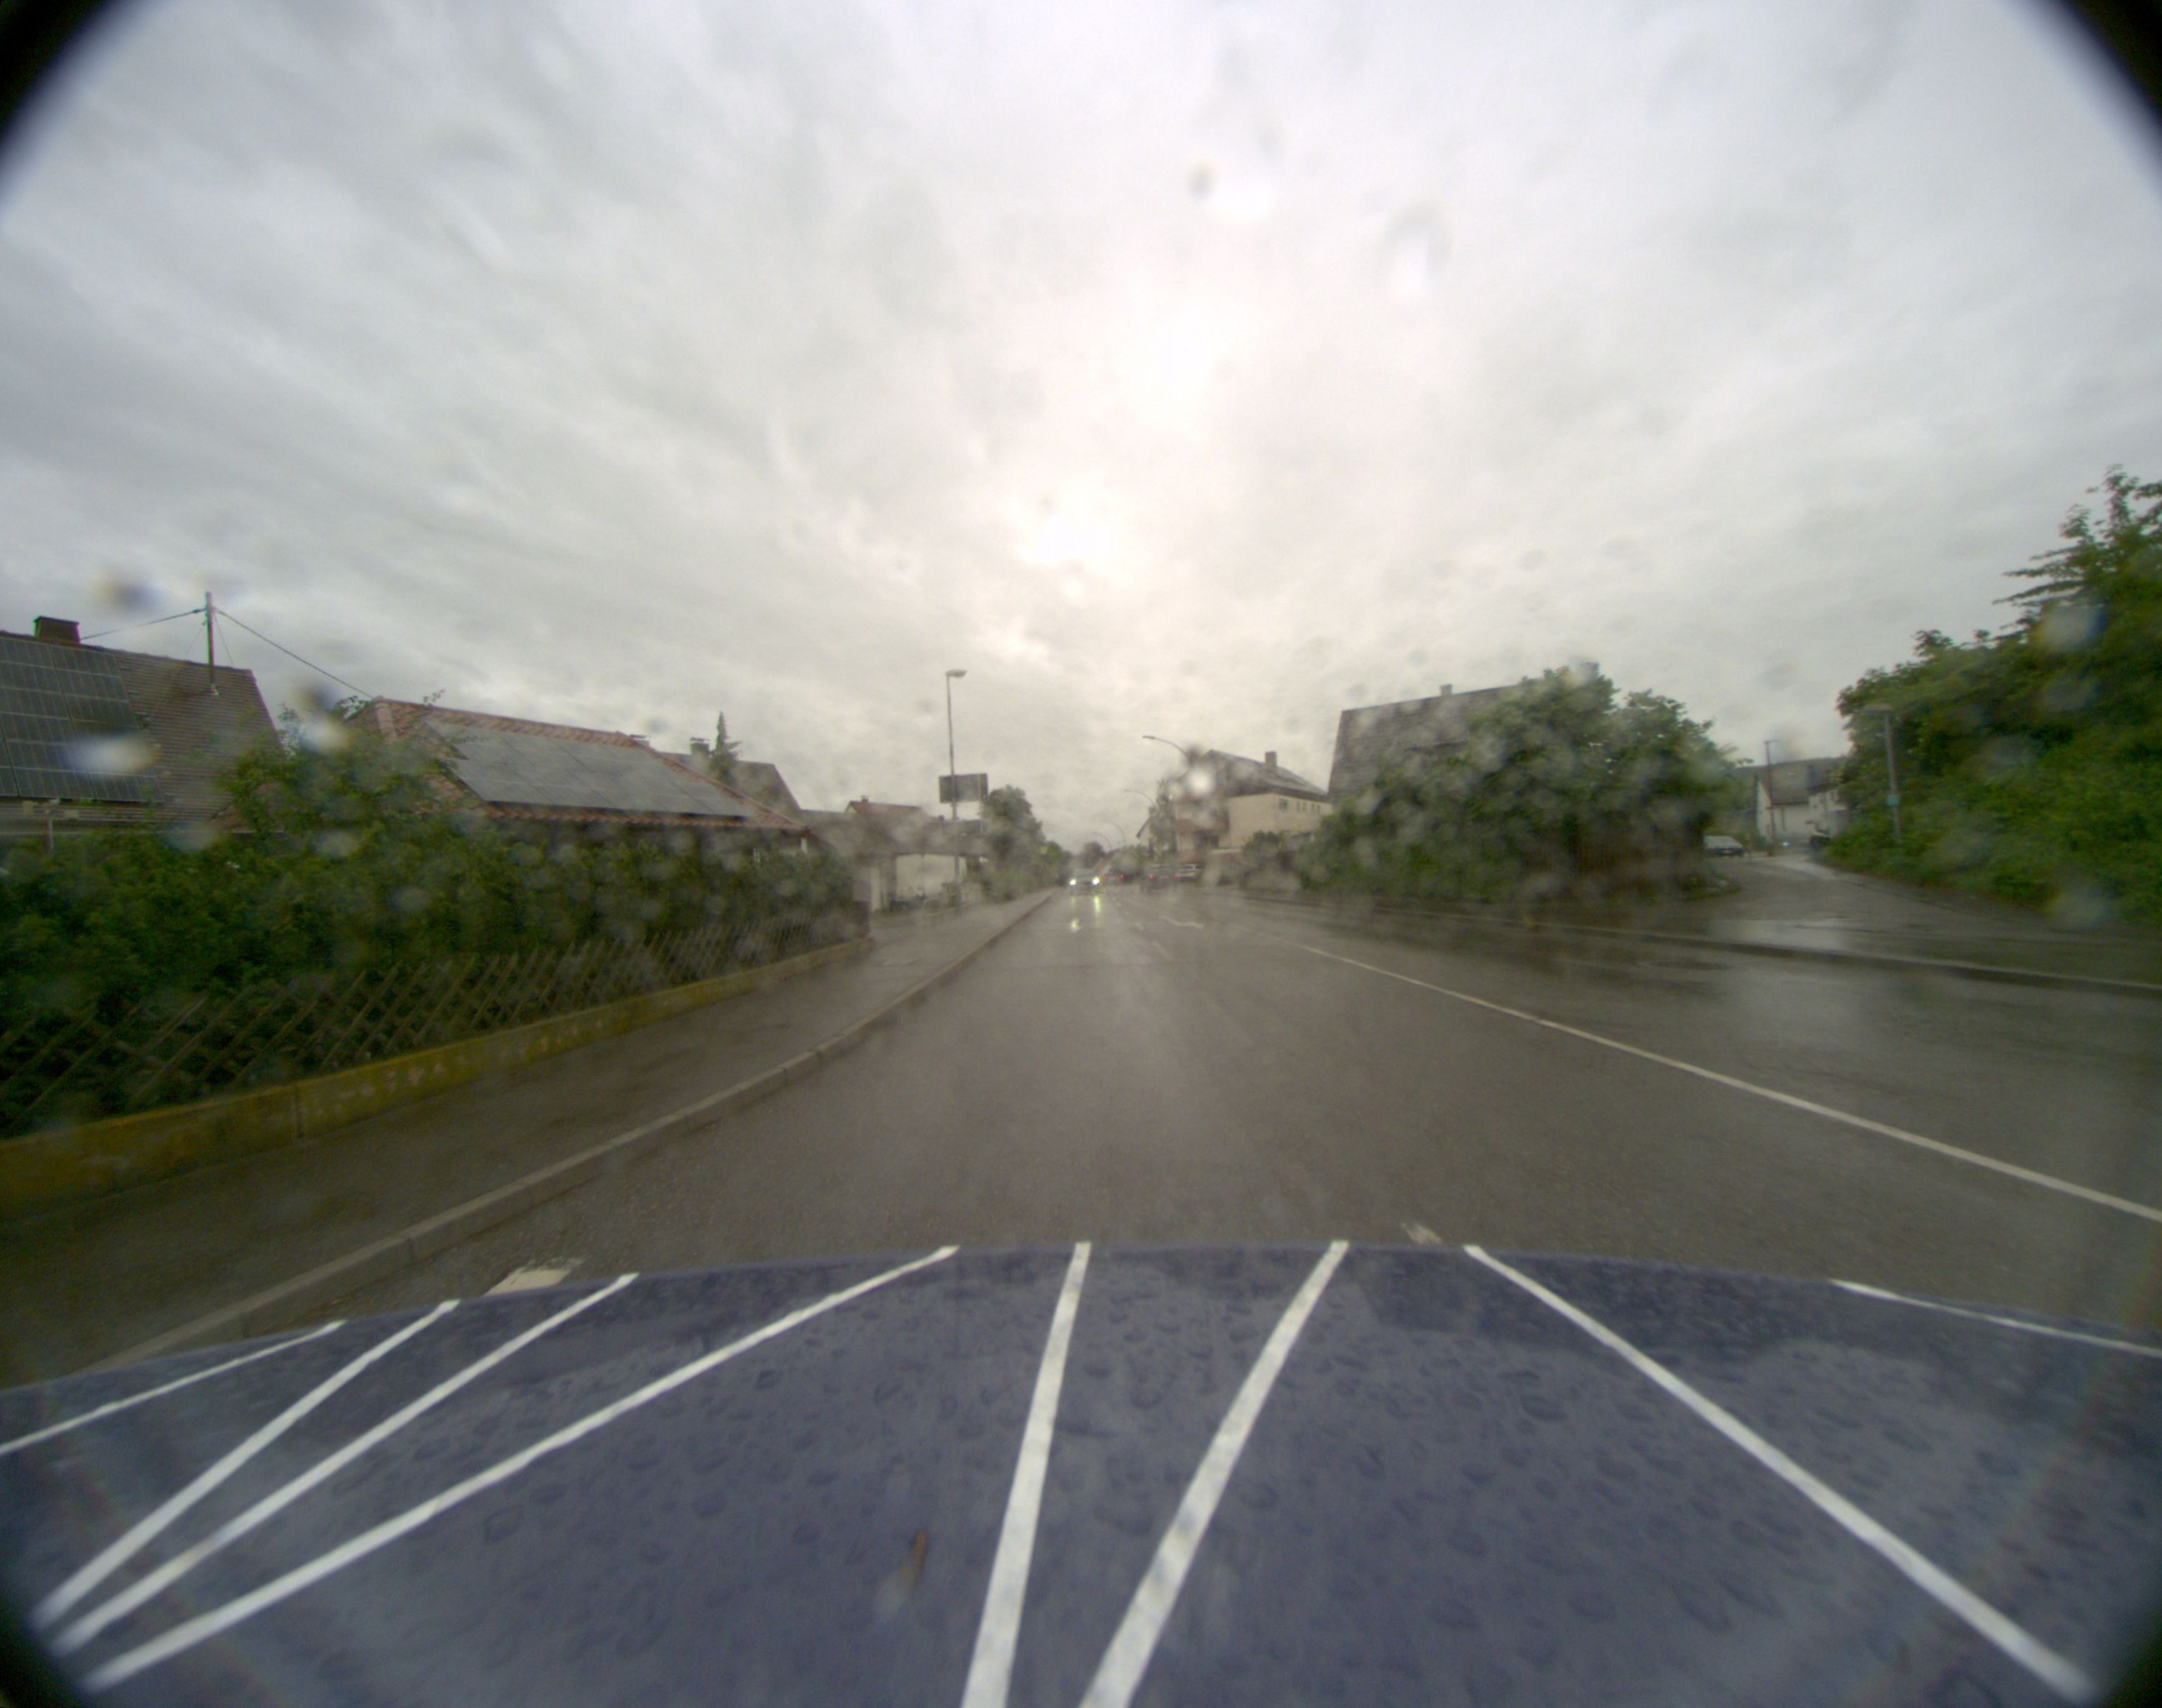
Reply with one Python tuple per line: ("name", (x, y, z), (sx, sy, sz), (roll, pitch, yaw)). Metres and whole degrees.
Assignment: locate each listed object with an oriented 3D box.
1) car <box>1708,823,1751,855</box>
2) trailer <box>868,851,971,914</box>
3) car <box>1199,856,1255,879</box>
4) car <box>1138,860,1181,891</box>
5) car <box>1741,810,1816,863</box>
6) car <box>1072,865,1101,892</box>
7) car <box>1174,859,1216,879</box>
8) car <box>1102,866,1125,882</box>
("car", (41.643, -0.981, 48.760), (1.995, 1.848, 4.008), (-3, 0, 42))
("trailer", (-7.102, 1.199, 33.951), (1.645, 2.502, 4.712), (-4, -1, 29))
("car", (11.051, 1.028, 57.633), (3.661, 1.510, 1.758), (-3, 0, 35))
("car", (4.579, 1.225, 44.751), (1.999, 1.658, 4.416), (-3, 0, 0))
("car", (23.228, -0.586, 25.318), (1.706, 1.579, 3.669), (-2, 0, 43))
("car", (0.305, 1.512, 48.071), (1.688, 1.486, 3.939), (-3, 0, -1))
("car", (9.520, 1.245, 63.203), (1.864, 1.510, 4.007), (-3, 0, 33))
("car", (3.239, 1.975, 76.435), (1.999, 1.396, 4.623), (-2, 0, -1))
